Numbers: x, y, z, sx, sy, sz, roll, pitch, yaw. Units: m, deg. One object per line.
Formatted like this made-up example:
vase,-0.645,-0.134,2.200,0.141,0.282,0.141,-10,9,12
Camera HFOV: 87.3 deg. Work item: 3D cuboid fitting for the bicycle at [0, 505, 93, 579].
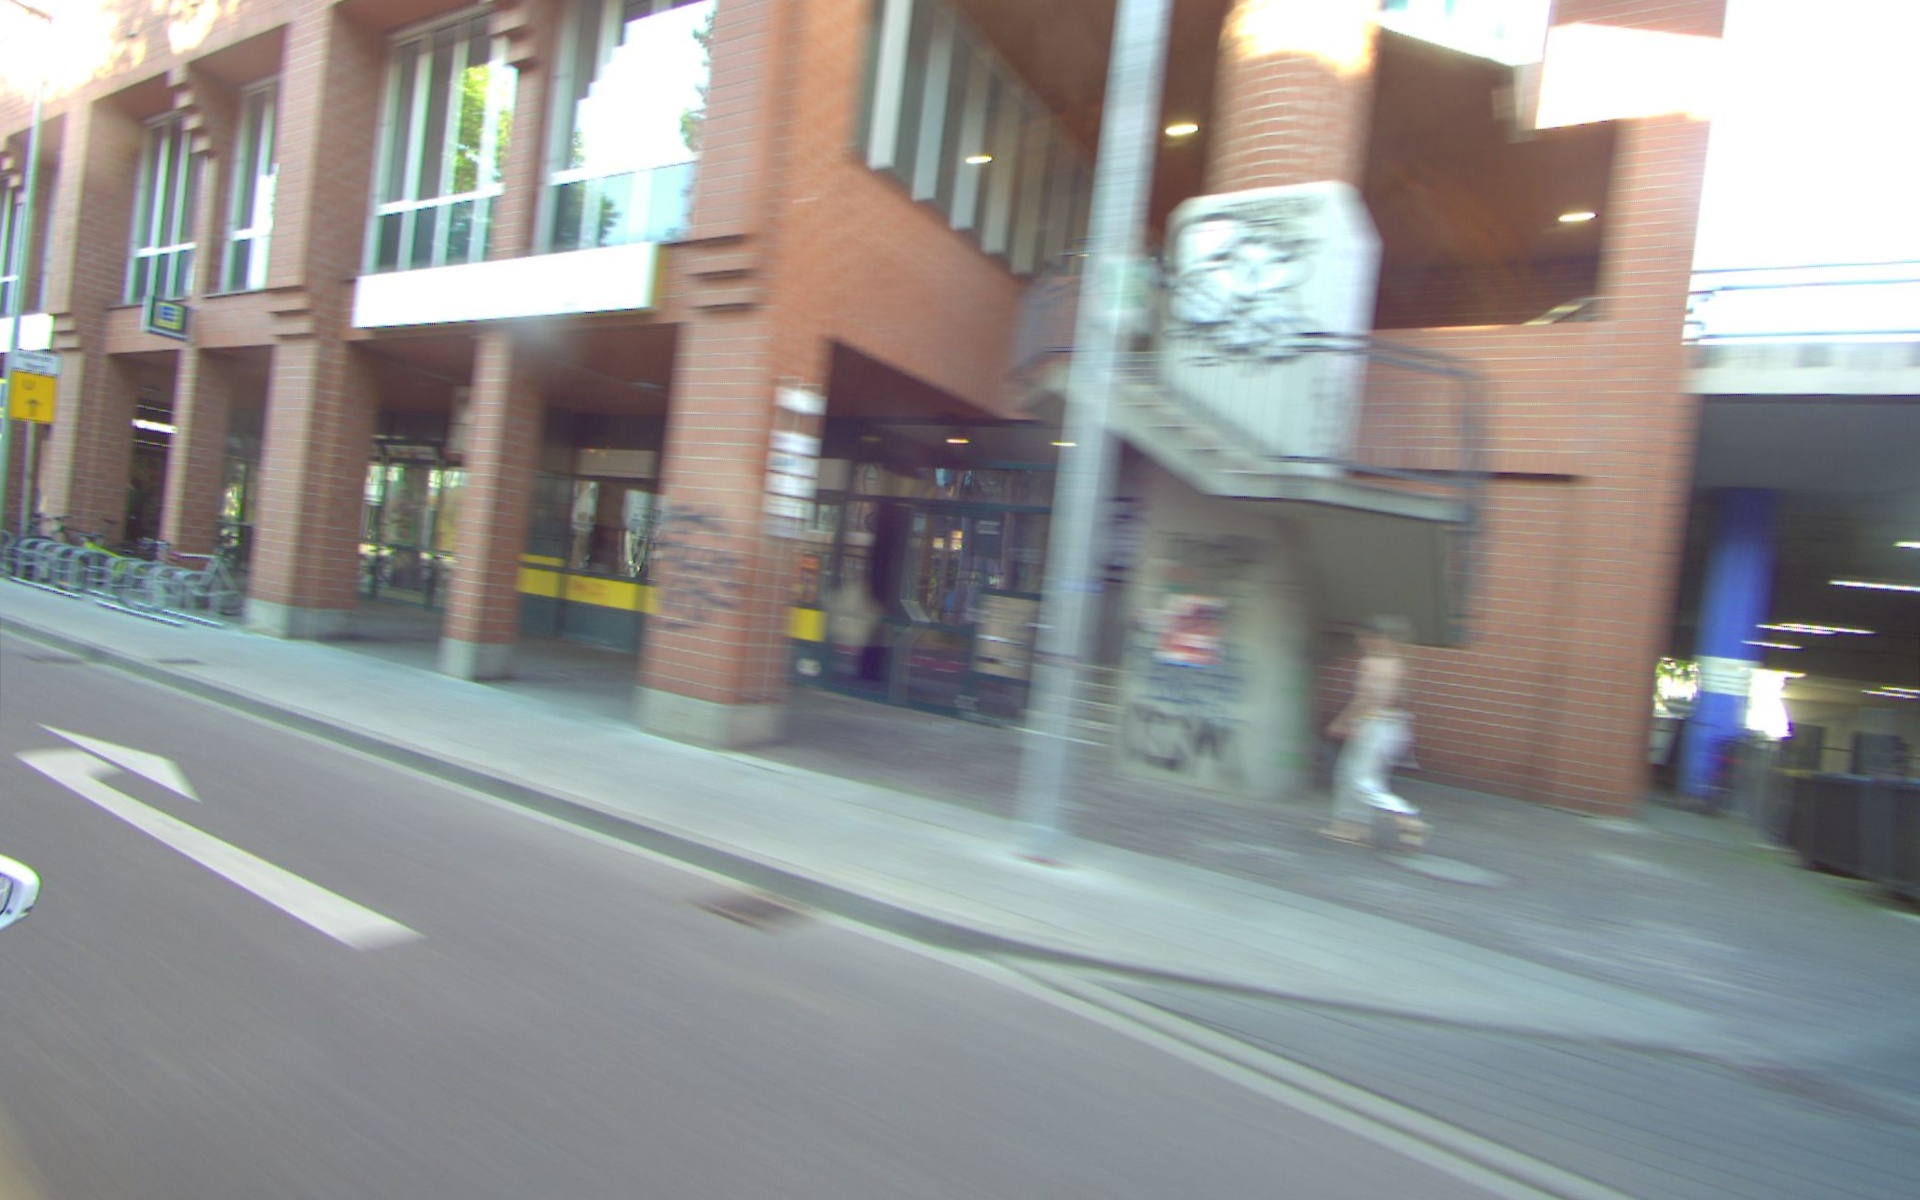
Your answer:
bicycle,-16.147,-1.023,17.178,0.541,1.133,1.894,7,0,31

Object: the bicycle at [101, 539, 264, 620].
bicycle,-10.470,-0.256,13.596,0.546,0.967,1.611,7,2,33

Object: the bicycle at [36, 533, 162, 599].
bicycle,-12.787,-0.491,14.976,0.418,0.852,1.334,7,2,33

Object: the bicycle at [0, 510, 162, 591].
bicycle,-13.858,-0.752,15.805,0.563,1.070,1.932,7,1,34

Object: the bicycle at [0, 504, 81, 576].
bicycle,-16.704,-1.090,17.581,0.467,1.133,1.894,7,0,31

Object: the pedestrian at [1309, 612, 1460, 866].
pedestrian,3.067,0.972,7.261,0.765,1.652,0.570,7,0,31

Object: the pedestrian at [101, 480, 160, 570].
pedestrian,-17.904,-1.620,21.713,0.598,1.818,0.660,7,1,27

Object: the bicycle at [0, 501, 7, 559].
bicycle,-19.594,-1.469,19.224,0.467,1.133,1.894,7,0,31
